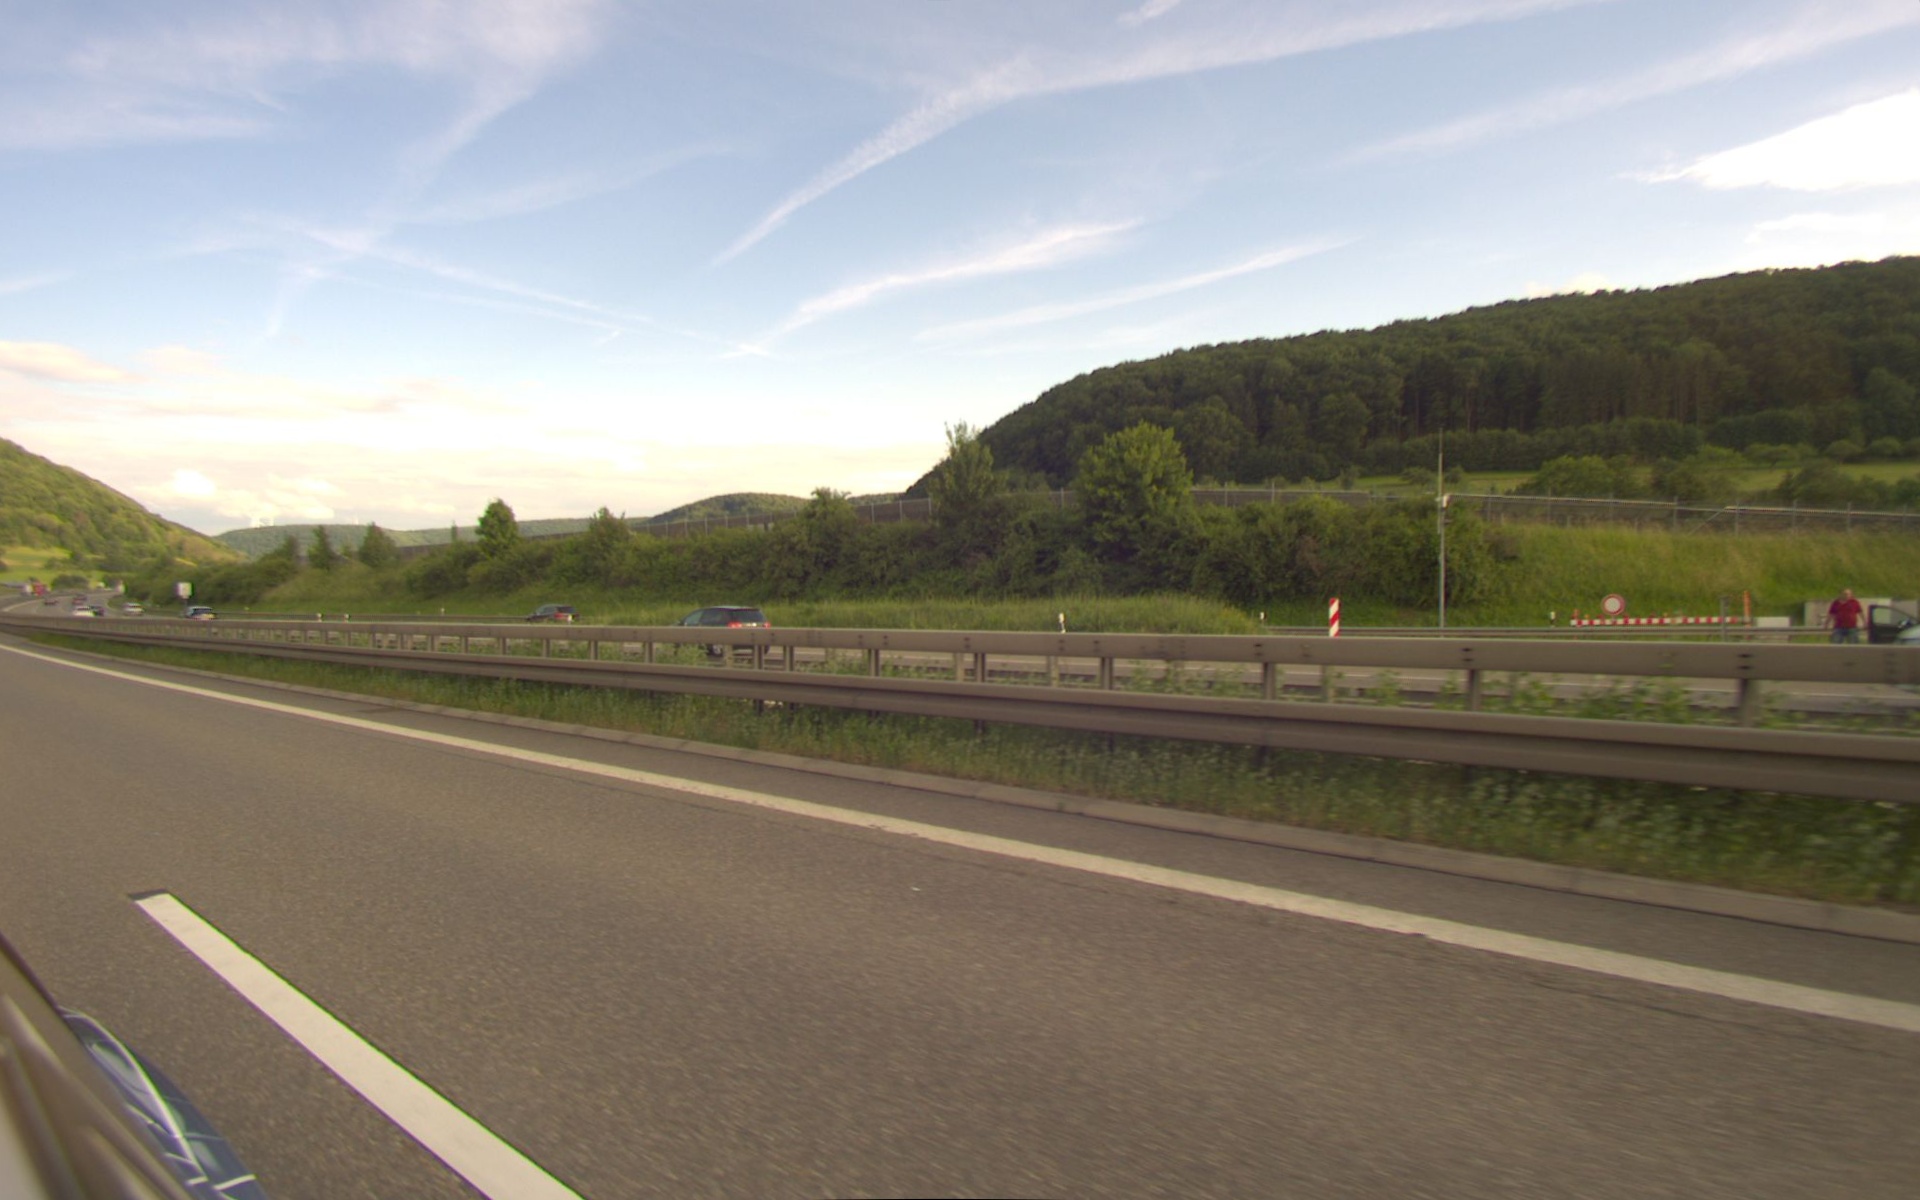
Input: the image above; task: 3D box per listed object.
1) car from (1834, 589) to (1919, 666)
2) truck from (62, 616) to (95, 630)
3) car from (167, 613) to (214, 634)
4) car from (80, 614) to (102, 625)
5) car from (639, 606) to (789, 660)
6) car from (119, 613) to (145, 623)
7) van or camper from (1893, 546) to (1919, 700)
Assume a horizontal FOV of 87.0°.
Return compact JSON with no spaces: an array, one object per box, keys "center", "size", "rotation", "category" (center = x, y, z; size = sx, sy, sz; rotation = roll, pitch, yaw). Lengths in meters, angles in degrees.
[{"center":[20.808,0.566,21.188],"size":[1.982,1.563,4.595],"rotation":[0,-1,16],"category":"car"},{"center":[-90.722,2.352,104.170],"size":[4.643,1.375,1.973],"rotation":[-1,-1,41],"category":"truck"},{"center":[-58.899,1.777,77.425],"size":[4.690,1.508,1.972],"rotation":[0,-2,42],"category":"car"},{"center":[-112.922,2.518,131.513],"size":[1.970,1.497,4.004],"rotation":[1,-2,-43],"category":"car"},{"center":[-7.562,0.977,30.866],"size":[4.685,1.508,1.975],"rotation":[-1,-1,38],"category":"car"},{"center":[-111.078,2.432,135.823],"size":[4.375,1.368,1.743],"rotation":[-1,-1,37],"category":"car"},{"center":[14.065,0.255,11.657],"size":[4.751,1.888,1.896],"rotation":[-1,-1,40],"category":"van or camper"}]
